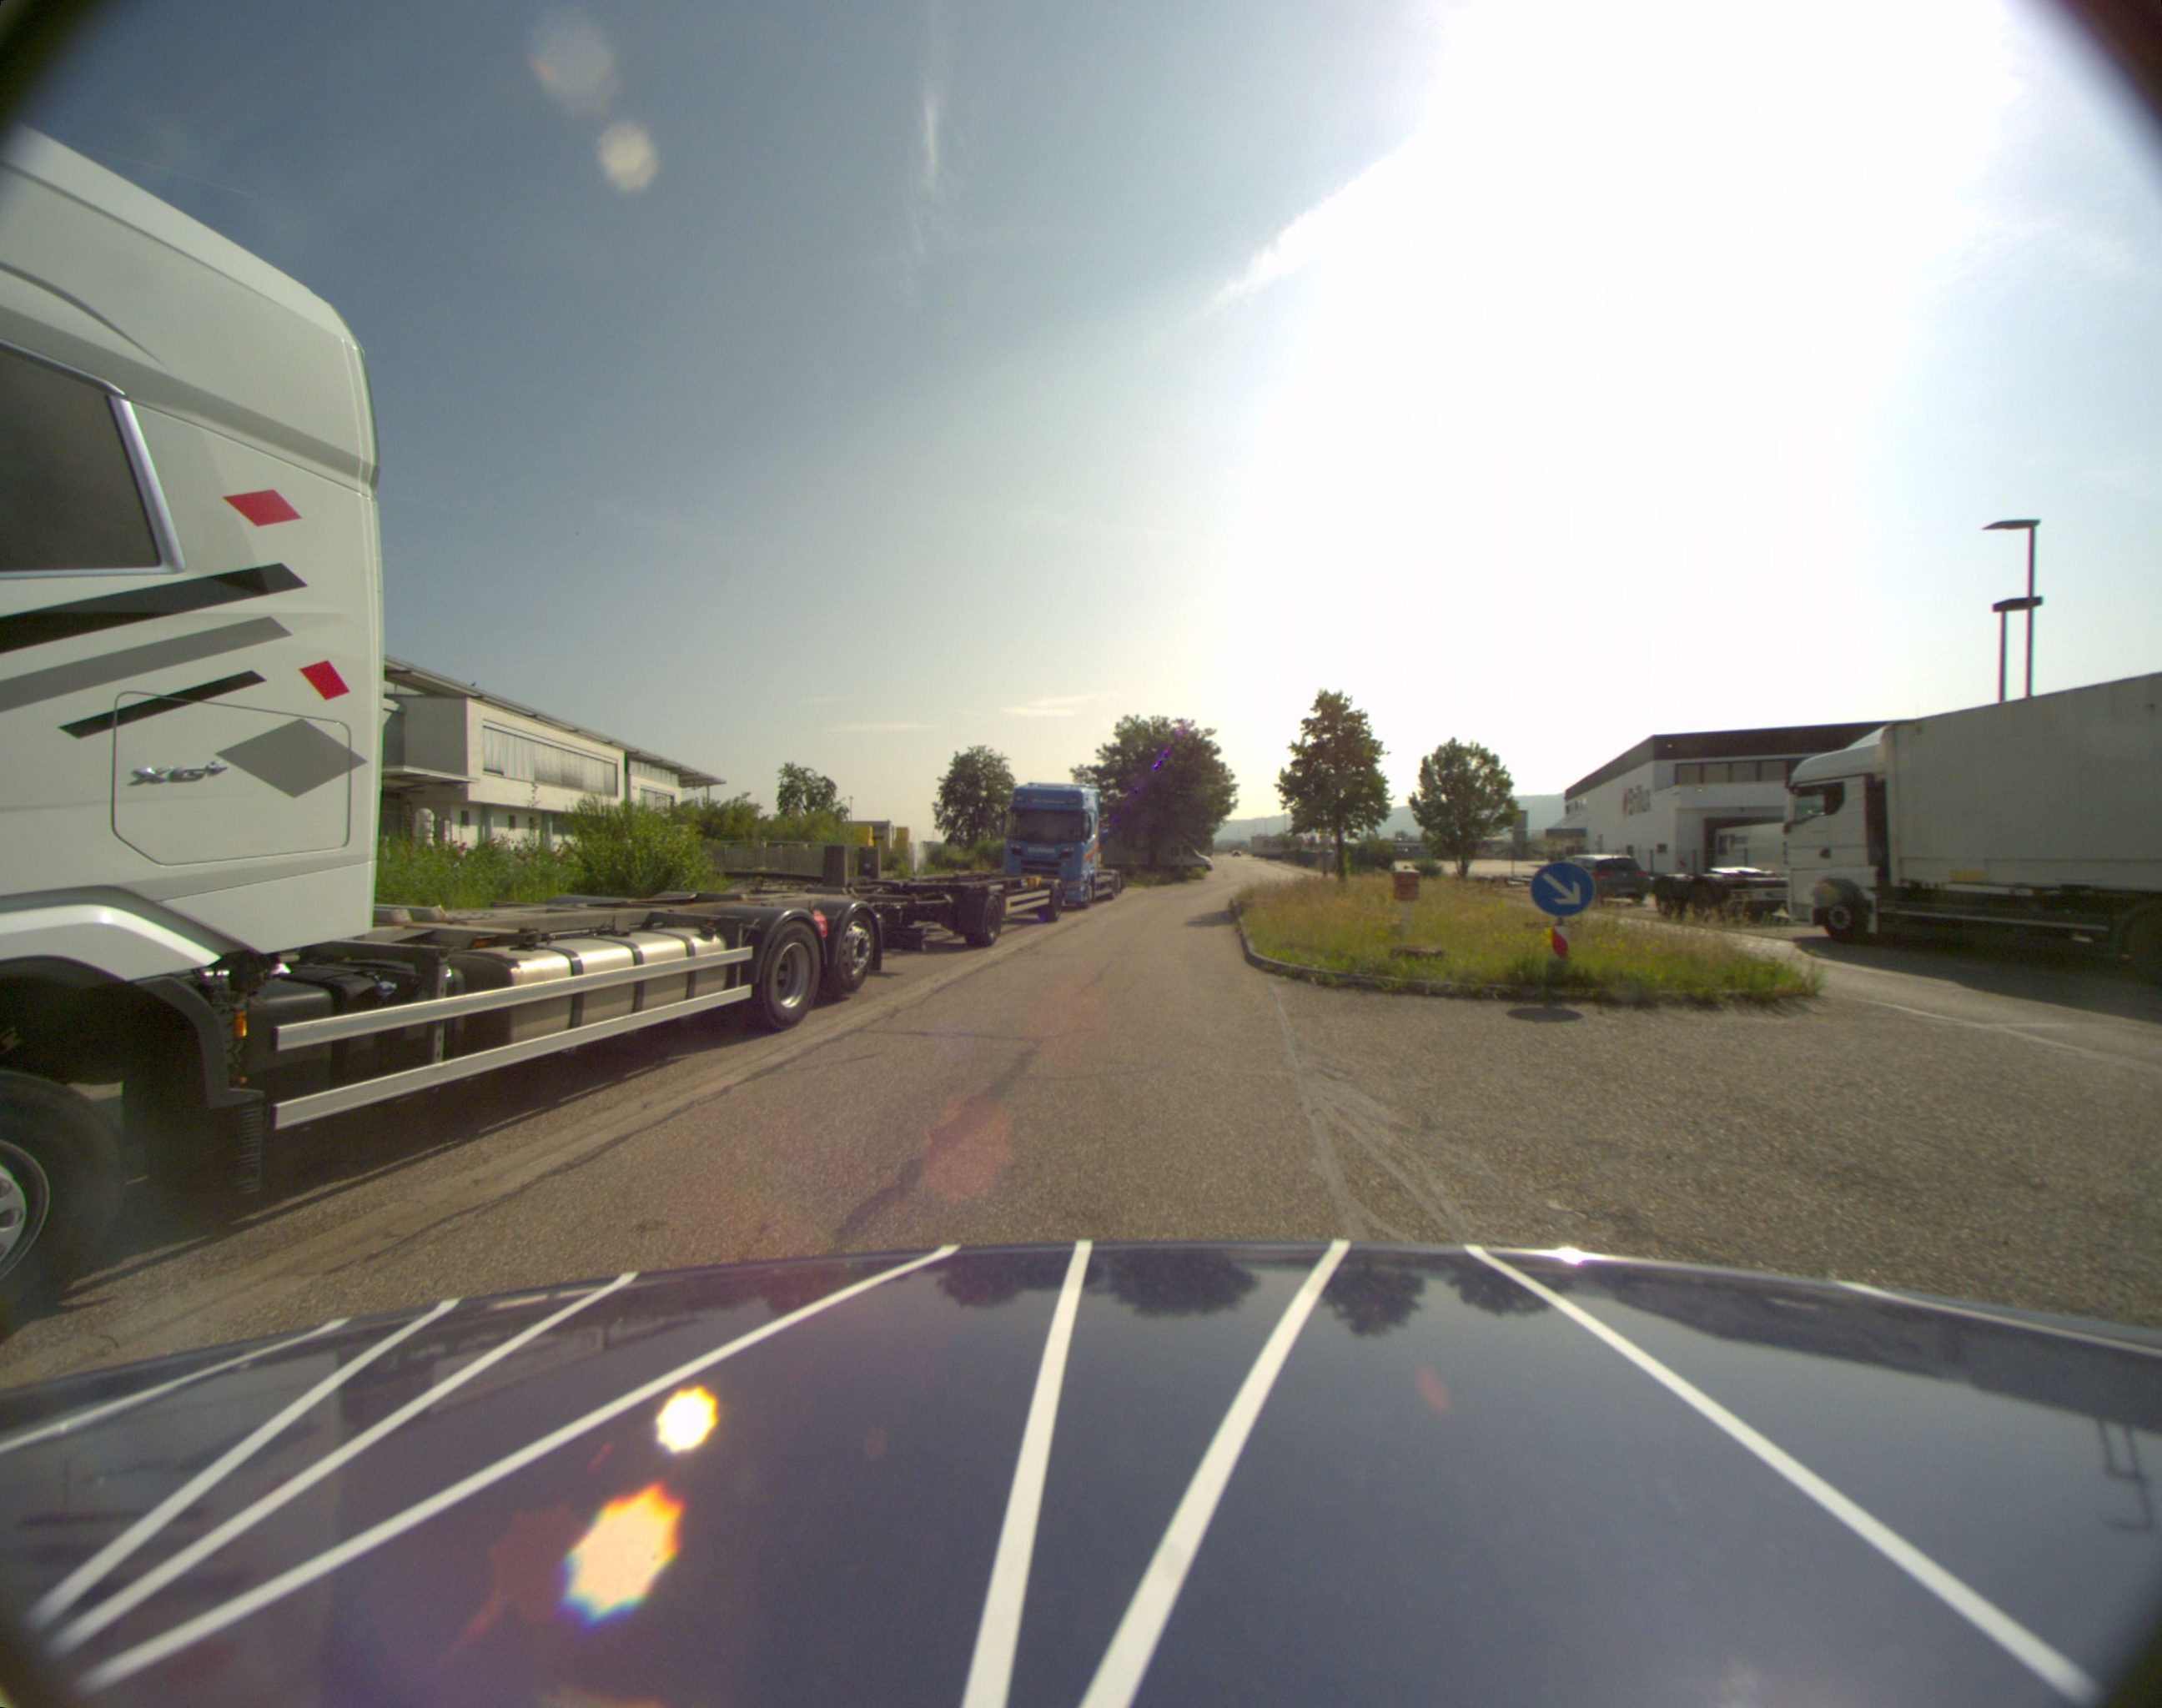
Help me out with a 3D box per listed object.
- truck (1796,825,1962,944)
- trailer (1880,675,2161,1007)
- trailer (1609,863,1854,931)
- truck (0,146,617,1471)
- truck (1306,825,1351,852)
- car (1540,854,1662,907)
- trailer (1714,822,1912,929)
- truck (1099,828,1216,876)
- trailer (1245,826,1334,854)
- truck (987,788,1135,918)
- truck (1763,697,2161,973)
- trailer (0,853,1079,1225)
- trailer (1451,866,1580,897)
[{"bbox_3d":[30.001,0.987,28.885,2.515,4.048,5.552,-2,1,26],"label":"truck"},{"bbox_3d":[14.031,-0.186,8.711,2.704,3.899,7.579,-2,1,10],"label":"trailer"},{"bbox_3d":[16.315,0.995,19.574,2.685,1.445,5.081,-1,0,12],"label":"trailer"},{"bbox_3d":[-4.531,-0.149,2.798,2.750,3.959,4.003,3,1,11],"label":"truck"},{"bbox_3d":[40.719,-2.527,125.062,6.081,4.183,3.404,-1,2,41],"label":"truck"},{"bbox_3d":[17.090,0.817,25.245,1.699,1.552,4.339,-3,0,11],"label":"car"},{"bbox_3d":[33.090,0.614,35.268,2.484,4.018,13.910,-2,1,26],"label":"trailer"},{"bbox_3d":[5.561,-0.182,55.154,8.222,3.351,2.742,1,2,9],"label":"truck"},{"bbox_3d":[35.256,-2.368,128.864,14.194,4.183,3.506,-1,2,37],"label":"trailer"},{"bbox_3d":[-0.245,-0.145,26.382,2.892,3.516,9.761,4,2,11],"label":"truck"},{"bbox_3d":[14.791,-0.288,13.026,2.713,3.899,4.299,-2,1,10],"label":"truck"},{"bbox_3d":[-2.923,0.850,11.737,2.750,1.565,16.184,2,1,11],"label":"trailer"},{"bbox_3d":[18.201,1.097,32.354,2.551,0.919,6.714,-3,0,9],"label":"trailer"}]
